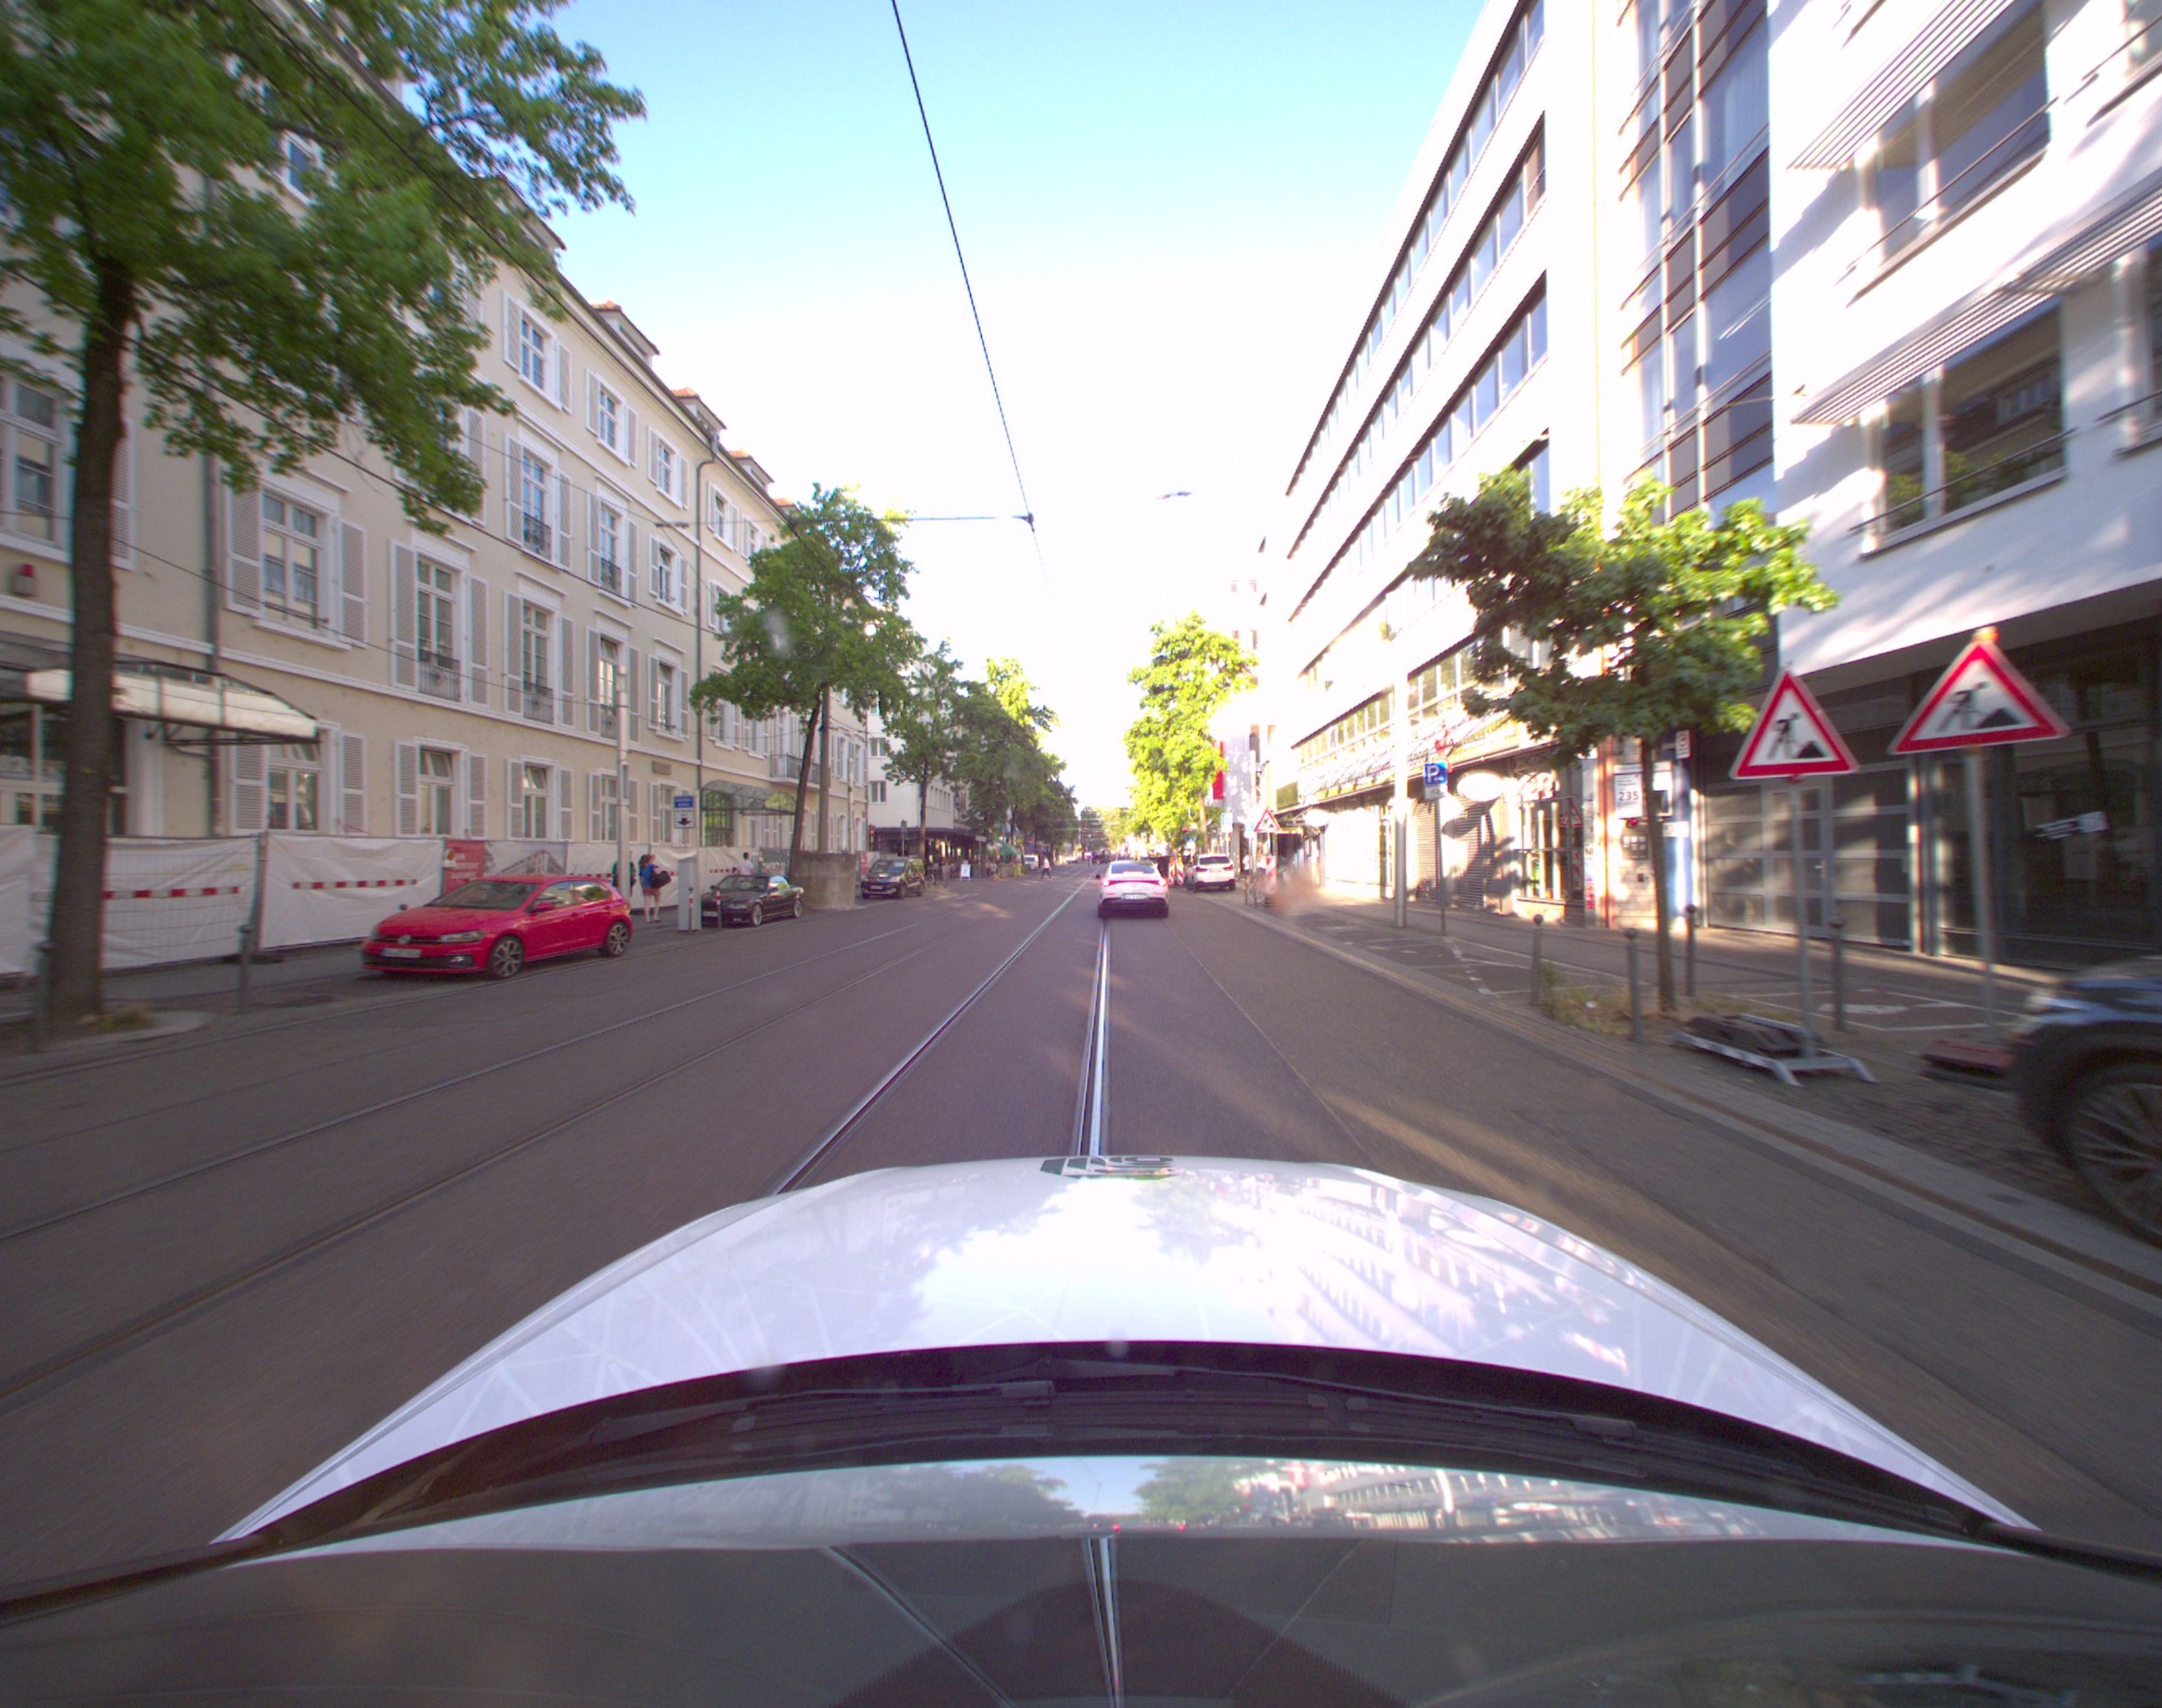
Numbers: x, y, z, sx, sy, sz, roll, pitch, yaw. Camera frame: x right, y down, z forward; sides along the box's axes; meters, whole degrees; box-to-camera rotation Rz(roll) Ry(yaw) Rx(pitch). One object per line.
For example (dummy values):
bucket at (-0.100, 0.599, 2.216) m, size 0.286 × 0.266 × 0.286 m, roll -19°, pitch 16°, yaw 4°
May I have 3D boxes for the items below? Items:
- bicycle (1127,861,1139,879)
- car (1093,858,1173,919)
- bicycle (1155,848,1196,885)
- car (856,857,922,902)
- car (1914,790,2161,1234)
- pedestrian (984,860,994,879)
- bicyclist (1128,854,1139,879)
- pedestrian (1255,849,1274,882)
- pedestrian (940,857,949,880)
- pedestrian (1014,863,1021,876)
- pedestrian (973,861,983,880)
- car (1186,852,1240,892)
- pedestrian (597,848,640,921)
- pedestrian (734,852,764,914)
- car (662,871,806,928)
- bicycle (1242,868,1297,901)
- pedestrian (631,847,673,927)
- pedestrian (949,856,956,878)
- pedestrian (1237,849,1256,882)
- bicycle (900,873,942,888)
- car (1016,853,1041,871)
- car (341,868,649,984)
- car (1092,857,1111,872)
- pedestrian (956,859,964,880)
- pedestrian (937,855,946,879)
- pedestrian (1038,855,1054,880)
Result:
bicycle at (3.522, 1.080, 55.032) m, size 0.737 × 1.188 × 2.162 m, roll -1°, pitch -1°, yaw 3°
car at (1.317, 0.859, 22.094) m, size 1.862 × 1.469 × 4.041 m, roll -1°, pitch 0°, yaw -1°
bicycle at (5.376, 0.727, 46.807) m, size 1.986 × 2.014 × 4.001 m, roll -1°, pitch -1°, yaw 2°
car at (-8.101, 1.037, 34.629) m, size 1.543 × 1.796 × 3.176 m, roll -1°, pitch 0°, yaw 10°
car at (5.110, 0.593, 1.636) m, size 1.986 × 1.713 × 4.868 m, roll -1°, pitch 0°, yaw 2°
pedestrian at (-7.402, 1.287, 65.768) m, size 0.519 × 1.478 × 0.644 m, roll -3°, pitch -1°, yaw -26°
bicyclist at (3.513, 0.835, 54.863) m, size 0.722 × 1.703 × 0.811 m, roll -1°, pitch -1°, yaw 2°
pedestrian at (10.104, 0.610, 44.777) m, size 0.799 × 1.774 × 0.680 m, roll -1°, pitch 0°, yaw -10°
pedestrian at (-10.131, 1.065, 60.354) m, size 0.515 × 1.653 × 0.650 m, roll -1°, pitch 0°, yaw 1°
pedestrian at (-5.947, 1.438, 76.126) m, size 0.515 × 1.234 × 0.651 m, roll -1°, pitch 0°, yaw 3°
pedestrian at (-8.148, 1.300, 64.380) m, size 0.564 × 1.464 × 0.653 m, roll -1°, pitch 0°, yaw 21°
car at (6.136, 0.799, 38.231) m, size 1.986 × 1.728 × 4.243 m, roll -1°, pitch 0°, yaw 2°
pedestrian at (-11.714, 0.765, 20.638) m, size 0.706 × 1.806 × 0.675 m, roll -1°, pitch 0°, yaw -4°
pedestrian at (-10.957, 0.945, 26.878) m, size 0.705 × 2.004 × 0.675 m, roll -1°, pitch 0°, yaw -2°
car at (-8.985, 1.126, 21.496) m, size 1.986 × 1.292 × 4.002 m, roll -1°, pitch 0°, yaw 2°
bicycle at (6.274, 1.019, 27.126) m, size 1.714 × 1.062 × 0.581 m, roll -1°, pitch 0°, yaw 5°
pedestrian at (-10.880, 0.825, 20.669) m, size 0.705 × 2.004 × 0.675 m, roll -1°, pitch 0°, yaw -2°
pedestrian at (-10.643, 1.053, 67.276) m, size 0.516 × 1.781 × 0.608 m, roll -1°, pitch 0°, yaw -5°
pedestrian at (9.132, 0.632, 44.870) m, size 0.799 × 1.774 × 0.680 m, roll -1°, pitch 0°, yaw -10°
bicycle at (-8.812, 1.455, 44.901) m, size 2.232 × 0.830 × 0.721 m, roll -1°, pitch 0°, yaw 24°
car at (-6.239, 0.945, 97.096) m, size 1.981 × 2.014 × 4.011 m, roll -1°, pitch 0°, yaw 10°
car at (-8.984, 1.002, 13.030) m, size 1.681 × 1.499 × 4.237 m, roll 0°, pitch -1°, yaw 3°
car at (4.393, 2.269, 174.279) m, size 4.024 × 3.114 × 8.434 m, roll -1°, pitch -1°, yaw 2°
pedestrian at (-9.528, 1.242, 64.050) m, size 0.515 × 1.616 × 0.650 m, roll -1°, pitch 0°, yaw 1°
pedestrian at (-10.708, 0.987, 62.434) m, size 0.515 × 1.855 × 0.650 m, roll -1°, pitch 0°, yaw 1°
pedestrian at (-2.474, 0.936, 57.473) m, size 0.920 × 1.774 × 0.870 m, roll -1°, pitch 0°, yaw -13°
